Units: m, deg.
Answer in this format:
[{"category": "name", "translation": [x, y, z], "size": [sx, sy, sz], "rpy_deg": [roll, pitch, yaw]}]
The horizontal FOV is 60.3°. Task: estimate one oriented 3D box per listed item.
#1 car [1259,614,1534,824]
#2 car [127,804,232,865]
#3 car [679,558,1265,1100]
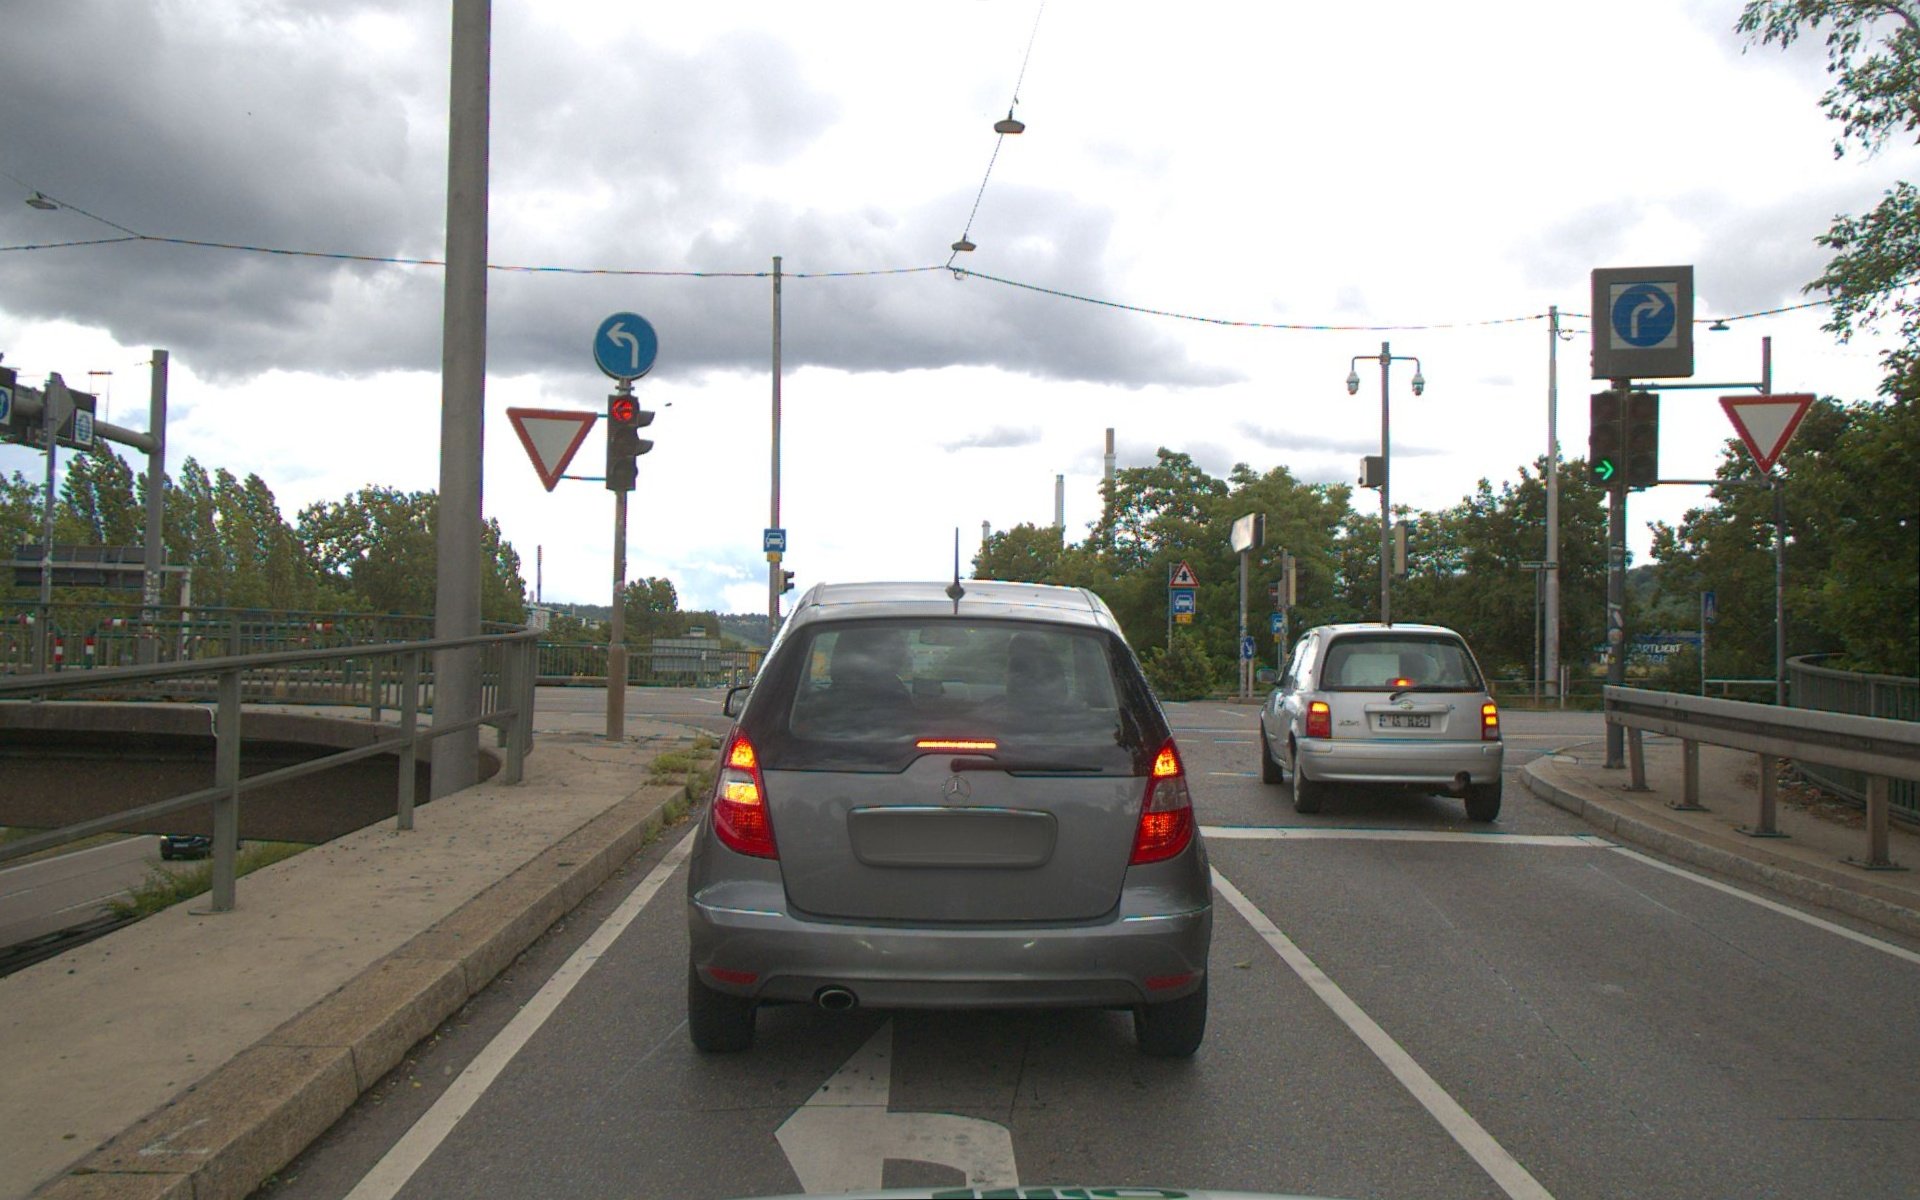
[{"category": "car", "translation": [3.417, 0.858, 13.509], "size": [1.552, 1.457, 3.444], "rpy_deg": [0, 0, 4]}, {"category": "car", "translation": [-28.122, 8.438, 59.752], "size": [1.844, 1.749, 4.180], "rpy_deg": [-1, -3, -1]}, {"category": "car", "translation": [0.020, 0.684, 6.648], "size": [1.704, 1.570, 3.540], "rpy_deg": [1, 0, -1]}]
